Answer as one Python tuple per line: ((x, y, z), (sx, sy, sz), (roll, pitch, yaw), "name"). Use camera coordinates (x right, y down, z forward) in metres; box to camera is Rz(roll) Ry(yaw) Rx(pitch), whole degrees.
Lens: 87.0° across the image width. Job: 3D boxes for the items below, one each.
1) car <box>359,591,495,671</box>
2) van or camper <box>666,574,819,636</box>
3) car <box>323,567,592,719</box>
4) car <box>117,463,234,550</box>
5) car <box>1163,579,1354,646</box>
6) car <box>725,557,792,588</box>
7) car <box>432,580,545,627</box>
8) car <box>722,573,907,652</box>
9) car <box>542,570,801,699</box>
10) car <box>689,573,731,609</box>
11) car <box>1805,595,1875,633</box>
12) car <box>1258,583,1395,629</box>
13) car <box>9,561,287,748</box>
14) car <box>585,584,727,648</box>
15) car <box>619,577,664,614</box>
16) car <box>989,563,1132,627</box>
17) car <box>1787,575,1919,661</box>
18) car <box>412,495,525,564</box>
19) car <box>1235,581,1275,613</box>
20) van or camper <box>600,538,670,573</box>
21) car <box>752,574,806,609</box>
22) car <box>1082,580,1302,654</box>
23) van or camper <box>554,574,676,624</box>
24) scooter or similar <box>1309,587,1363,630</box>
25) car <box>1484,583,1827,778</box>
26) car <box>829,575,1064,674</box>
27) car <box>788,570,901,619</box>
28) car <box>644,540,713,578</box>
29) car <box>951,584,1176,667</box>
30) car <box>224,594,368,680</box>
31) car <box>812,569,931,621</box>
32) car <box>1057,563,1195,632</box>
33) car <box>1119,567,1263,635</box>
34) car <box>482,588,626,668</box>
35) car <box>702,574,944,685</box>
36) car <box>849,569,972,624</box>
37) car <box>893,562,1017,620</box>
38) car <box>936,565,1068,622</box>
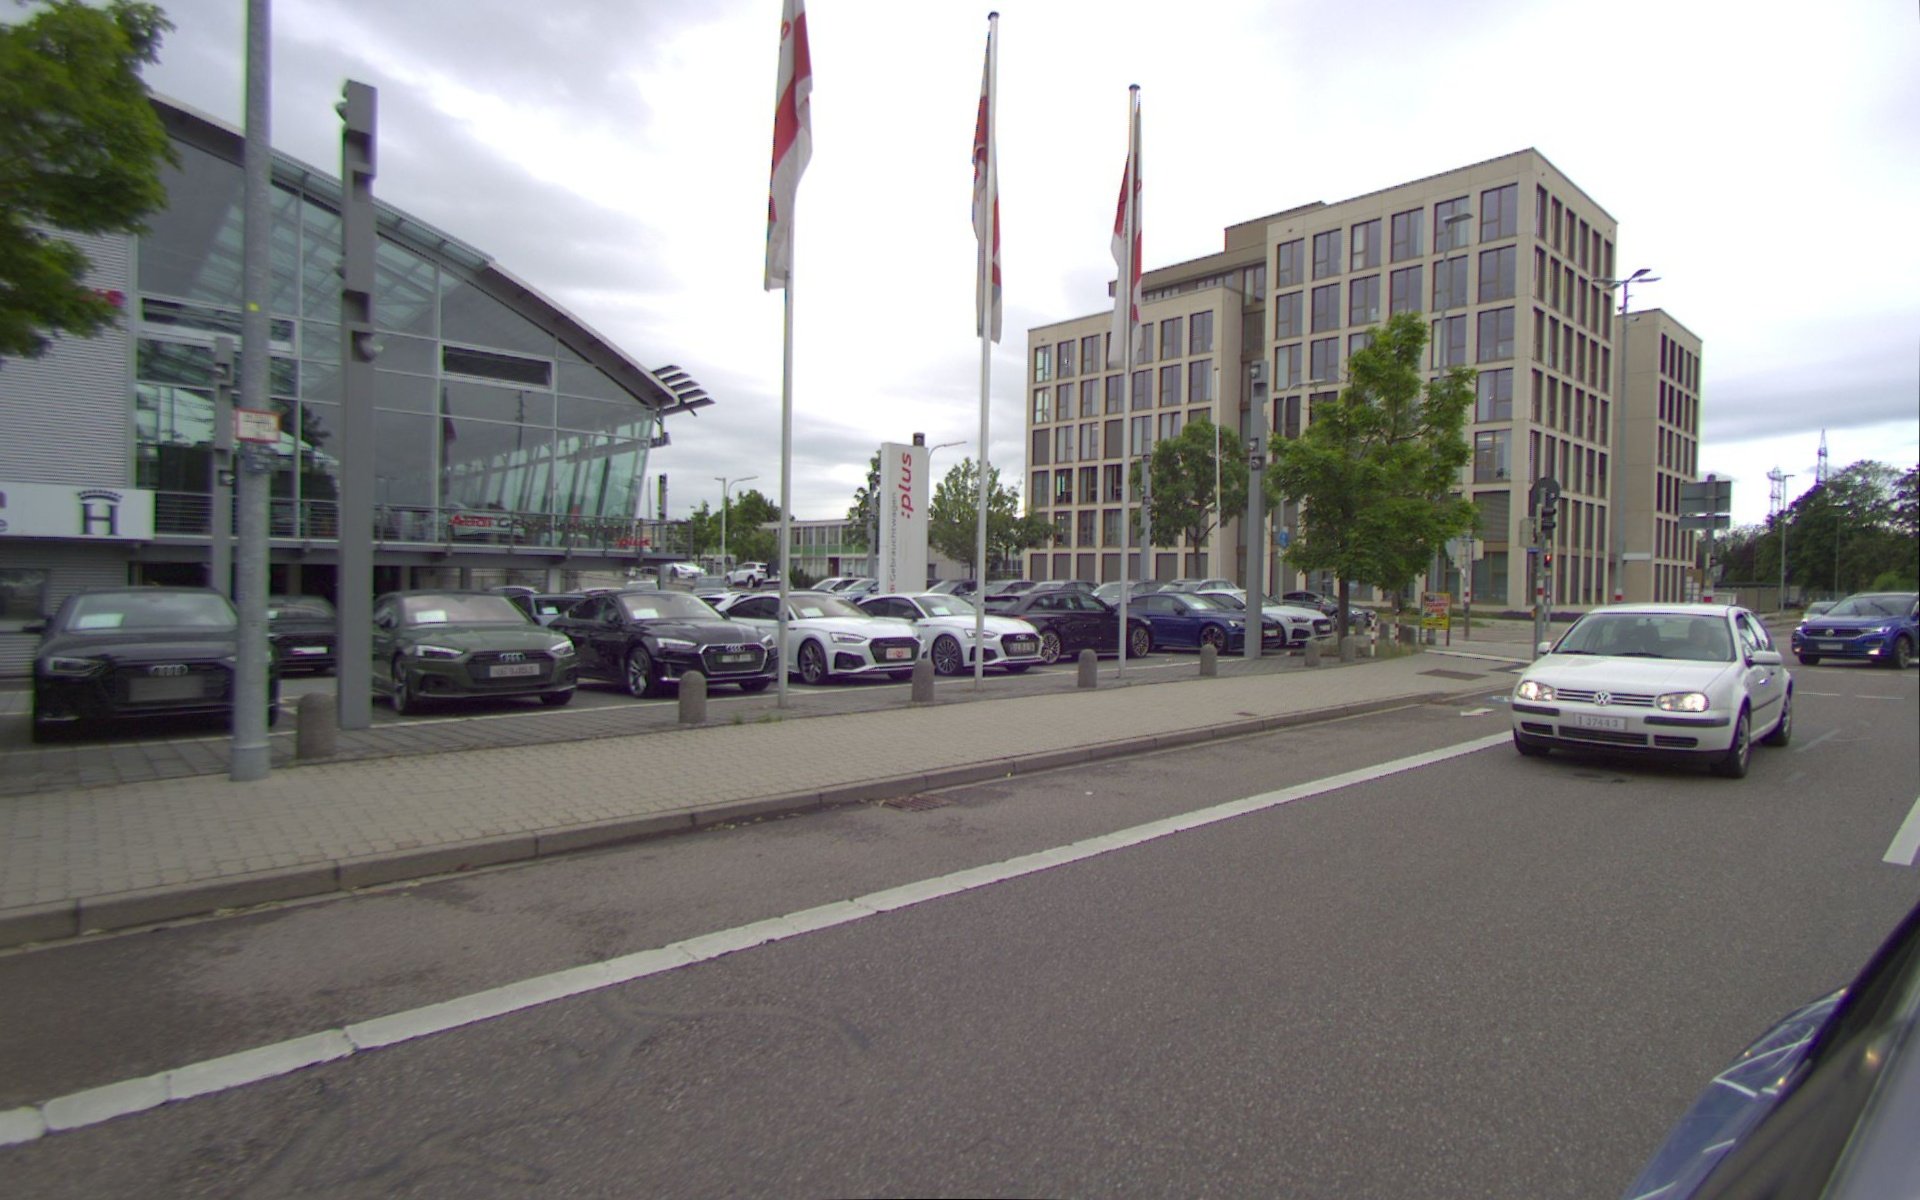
((-11.726, 0.625, 22.140), (1.698, 1.562, 3.993), (2, -1, -42), "car")
((-6.391, 0.173, 29.896), (3.931, 1.699, 1.996), (2, -1, -43), "van or camper")
((-6.204, 0.474, 12.242), (1.876, 1.505, 4.181), (0, -2, -42), "car")
((-18.596, -2.119, 23.936), (1.794, 1.683, 3.991), (3, -1, -43), "car")
((7.286, 0.292, 25.026), (1.842, 1.505, 4.222), (-1, 0, -41), "car")
((-11.520, -1.529, 57.776), (1.965, 1.638, 3.993), (2, -1, -42), "car")
((-19.908, 0.156, 42.829), (3.933, 1.861, 1.755), (2, -1, -44), "car")
((-3.921, 0.281, 27.792), (4.734, 1.964, 1.997), (0, 1, -41), "car")
((-4.125, 0.453, 14.011), (1.839, 1.505, 4.224), (0, -2, -41), "car")
((-12.292, -0.426, 49.868), (1.882, 1.679, 4.455), (-1, 0, -13), "car")
((36.257, 0.577, 41.664), (4.028, 1.450, 1.748), (2, -1, -43), "car")
((13.975, 0.197, 38.850), (1.948, 1.570, 4.612), (1, 1, -37), "car")
((-8.345, 0.484, 10.320), (1.862, 1.489, 4.370), (0, -2, -42), "car")
((-7.888, 0.463, 26.032), (1.895, 1.505, 4.255), (2, -3, -41), "car")
((-15.083, -0.212, 47.808), (1.882, 1.679, 4.455), (-1, 0, -19), "car")
((3.549, -0.232, 35.120), (4.955, 2.038, 2.261), (-2, 2, -43), "car")
((19.636, 0.405, 21.162), (4.241, 1.642, 1.851), (2, -1, -23), "car")
((-14.227, -1.969, 29.195), (1.794, 1.683, 3.991), (3, -1, -43), "car")
((17.116, -0.185, 58.841), (1.860, 1.790, 4.118), (1, 0, 12), "car")
((-17.022, -2.287, 52.919), (1.965, 1.672, 3.992), (2, -1, -42), "van or camper")
((-9.144, -0.433, 51.361), (1.886, 1.679, 4.445), (-1, 0, 1), "car")
((5.194, 0.388, 23.105), (2.036, 1.505, 4.505), (-2, 0, -43), "car")
((-12.979, -0.004, 38.162), (3.931, 1.733, 1.843), (2, -1, -42), "van or camper")
((11.446, 0.233, 30.864), (0.547, 1.234, 1.563), (4, 0, -24), "scooter or similar")
((6.809, 0.633, 9.751), (3.935, 1.496, 1.835), (1, 0, -42), "car")
((-0.353, 0.419, 17.660), (1.820, 1.505, 4.190), (0, -2, -41), "car")
((-5.123, -0.299, 45.357), (4.827, 2.038, 1.996), (-2, 2, -43), "car")
((-15.202, -2.185, 54.531), (1.965, 1.846, 3.993), (2, -1, -42), "car")
((2.197, 0.464, 20.569), (4.673, 1.505, 1.889), (0, -1, -42), "car")
((-13.377, 0.676, 20.286), (1.785, 1.505, 4.107), (2, -1, -42), "car")
((-3.698, -0.250, 42.949), (4.827, 2.038, 1.996), (-2, 2, -43), "car")
((5.422, -0.138, 32.771), (4.638, 2.038, 1.996), (-2, 2, -43), "car")
((7.089, -0.029, 30.817), (4.708, 1.886, 1.996), (-2, 2, -43), "car")
((-9.715, 0.607, 24.037), (1.779, 1.717, 4.311), (2, -1, -42), "car")
((-2.262, 0.444, 15.846), (1.844, 1.505, 4.036), (0, -2, -41), "car")
((-1.927, -0.196, 40.899), (4.827, 2.038, 1.996), (-2, 2, -43), "car")
((-0.132, -0.403, 38.727), (4.712, 2.038, 1.994), (-2, 2, -45), "car")
((1.600, -0.283, 36.925), (4.883, 1.899, 2.048), (-2, 2, -45), "car")
